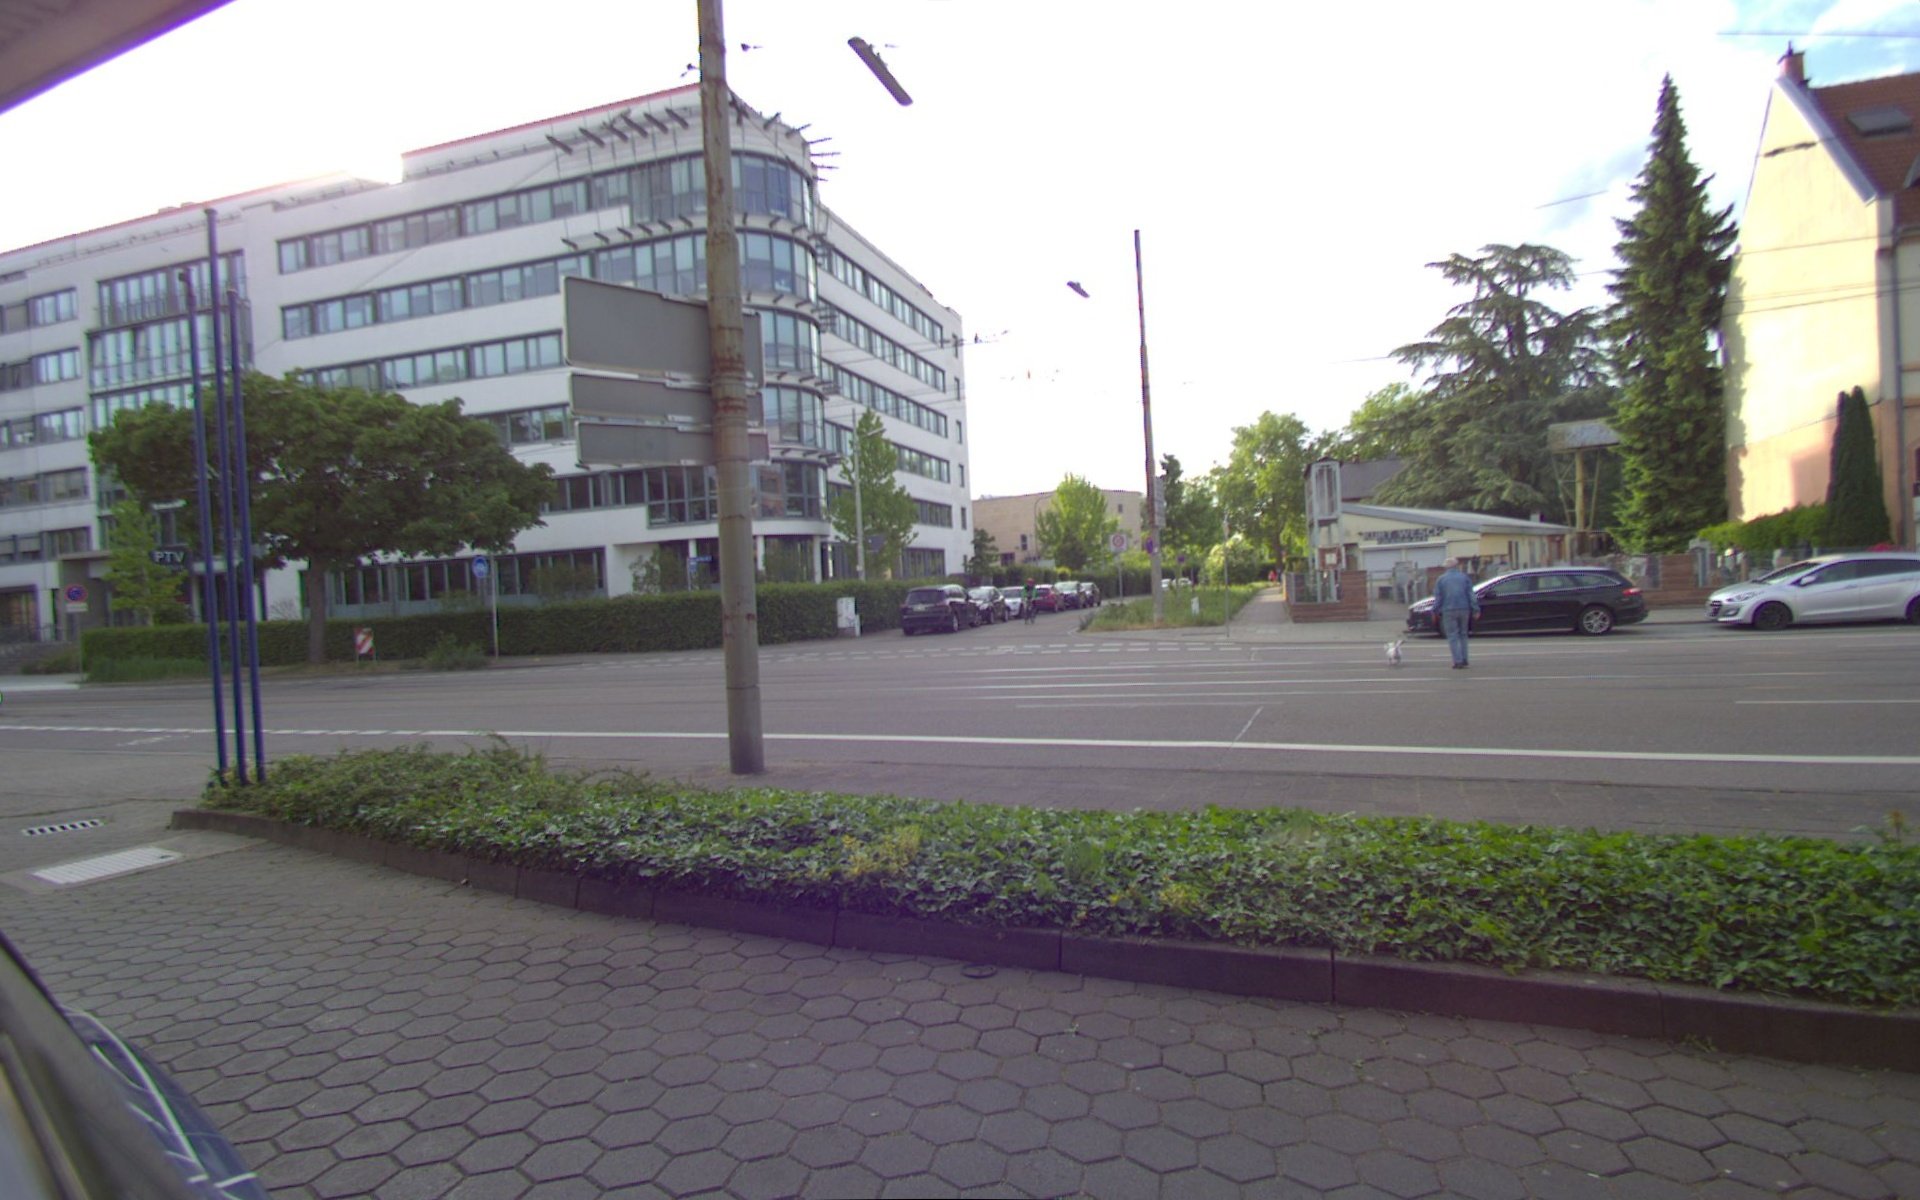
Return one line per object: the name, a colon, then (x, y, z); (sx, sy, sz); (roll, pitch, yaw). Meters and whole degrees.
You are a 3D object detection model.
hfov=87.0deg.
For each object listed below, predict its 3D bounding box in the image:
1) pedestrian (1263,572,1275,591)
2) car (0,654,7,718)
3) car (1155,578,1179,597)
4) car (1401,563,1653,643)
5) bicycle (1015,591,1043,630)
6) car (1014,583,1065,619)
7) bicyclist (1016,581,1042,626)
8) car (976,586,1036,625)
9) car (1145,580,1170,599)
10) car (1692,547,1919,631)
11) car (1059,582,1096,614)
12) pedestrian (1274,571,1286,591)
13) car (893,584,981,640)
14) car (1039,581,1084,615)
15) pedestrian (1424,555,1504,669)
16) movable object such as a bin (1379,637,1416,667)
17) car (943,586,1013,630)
pedestrian: (29.933, -1.783, 98.027); (0.899, 1.865, 0.942); (-3, -1, 20)
car: (-23.719, 2.073, 22.928); (3.400, 1.443, 1.680); (-3, 1, 19)
car: (21.693, -1.328, 106.161); (1.849, 1.748, 4.246); (-3, 0, 19)
car: (12.912, 0.056, 23.442); (4.742, 1.511, 2.001); (-3, 1, 21)
bicycle: (2.676, 0.384, 38.839); (0.856, 1.320, 1.914); (-3, 3, 9)
car: (4.176, 0.026, 52.492); (1.929, 1.650, 4.274); (-3, 0, 13)
bicyclist: (2.650, 0.111, 38.741); (0.856, 1.617, 1.026); (-3, 3, 9)
car: (2.143, 0.217, 45.786); (1.929, 1.530, 4.274); (-3, 0, 13)
car: (19.701, -1.078, 100.791); (1.849, 1.748, 4.247); (-3, 0, 19)
car: (18.422, -0.243, 21.381); (4.424, 1.494, 1.713); (-3, 1, 21)
car: (7.290, -0.156, 62.495); (1.731, 1.748, 4.030); (-3, 0, 13)
pedestrian: (30.930, -1.853, 97.809); (0.899, 1.865, 0.942); (-3, -1, 20)
car: (-0.725, 0.363, 35.415); (1.994, 1.704, 4.274); (-3, 1, 13)
car: (5.836, -0.146, 57.721); (1.929, 1.748, 4.512); (-3, 0, 13)
pedestrian: (7.767, 0.176, 15.643); (0.998, 1.680, 0.963); (-3, 1, 25)
movable object such as a bin: (7.205, 0.859, 16.675); (0.477, 0.424, 0.676); (-3, 1, 19)
car: (0.795, 0.294, 40.975); (1.929, 1.551, 4.274); (-3, 0, 13)
